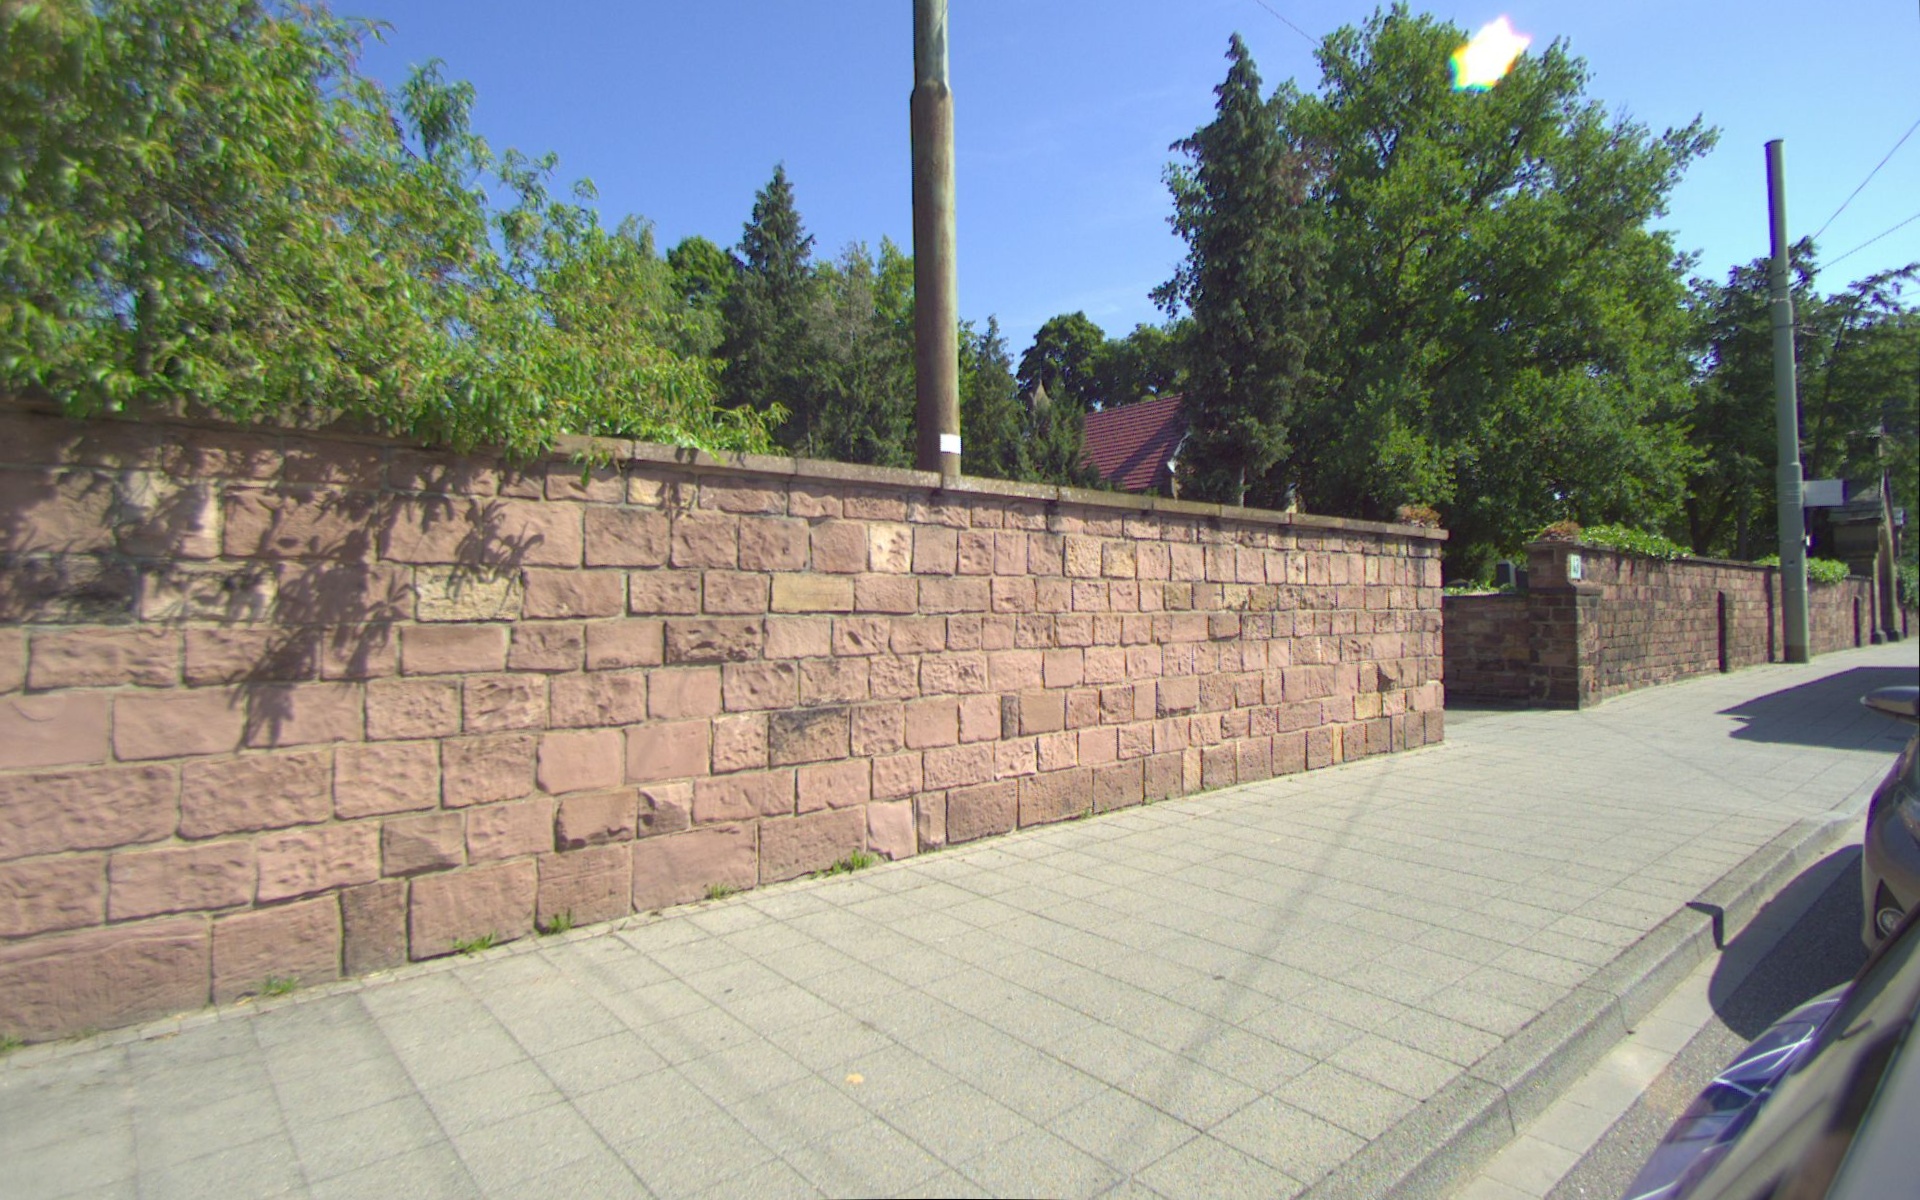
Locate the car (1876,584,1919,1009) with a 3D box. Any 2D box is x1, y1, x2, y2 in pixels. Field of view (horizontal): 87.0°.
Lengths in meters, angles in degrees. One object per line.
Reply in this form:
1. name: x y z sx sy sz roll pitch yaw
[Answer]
1. car: 5.109 0.647 4.088 3.930 1.400 1.653 0 0 -41
